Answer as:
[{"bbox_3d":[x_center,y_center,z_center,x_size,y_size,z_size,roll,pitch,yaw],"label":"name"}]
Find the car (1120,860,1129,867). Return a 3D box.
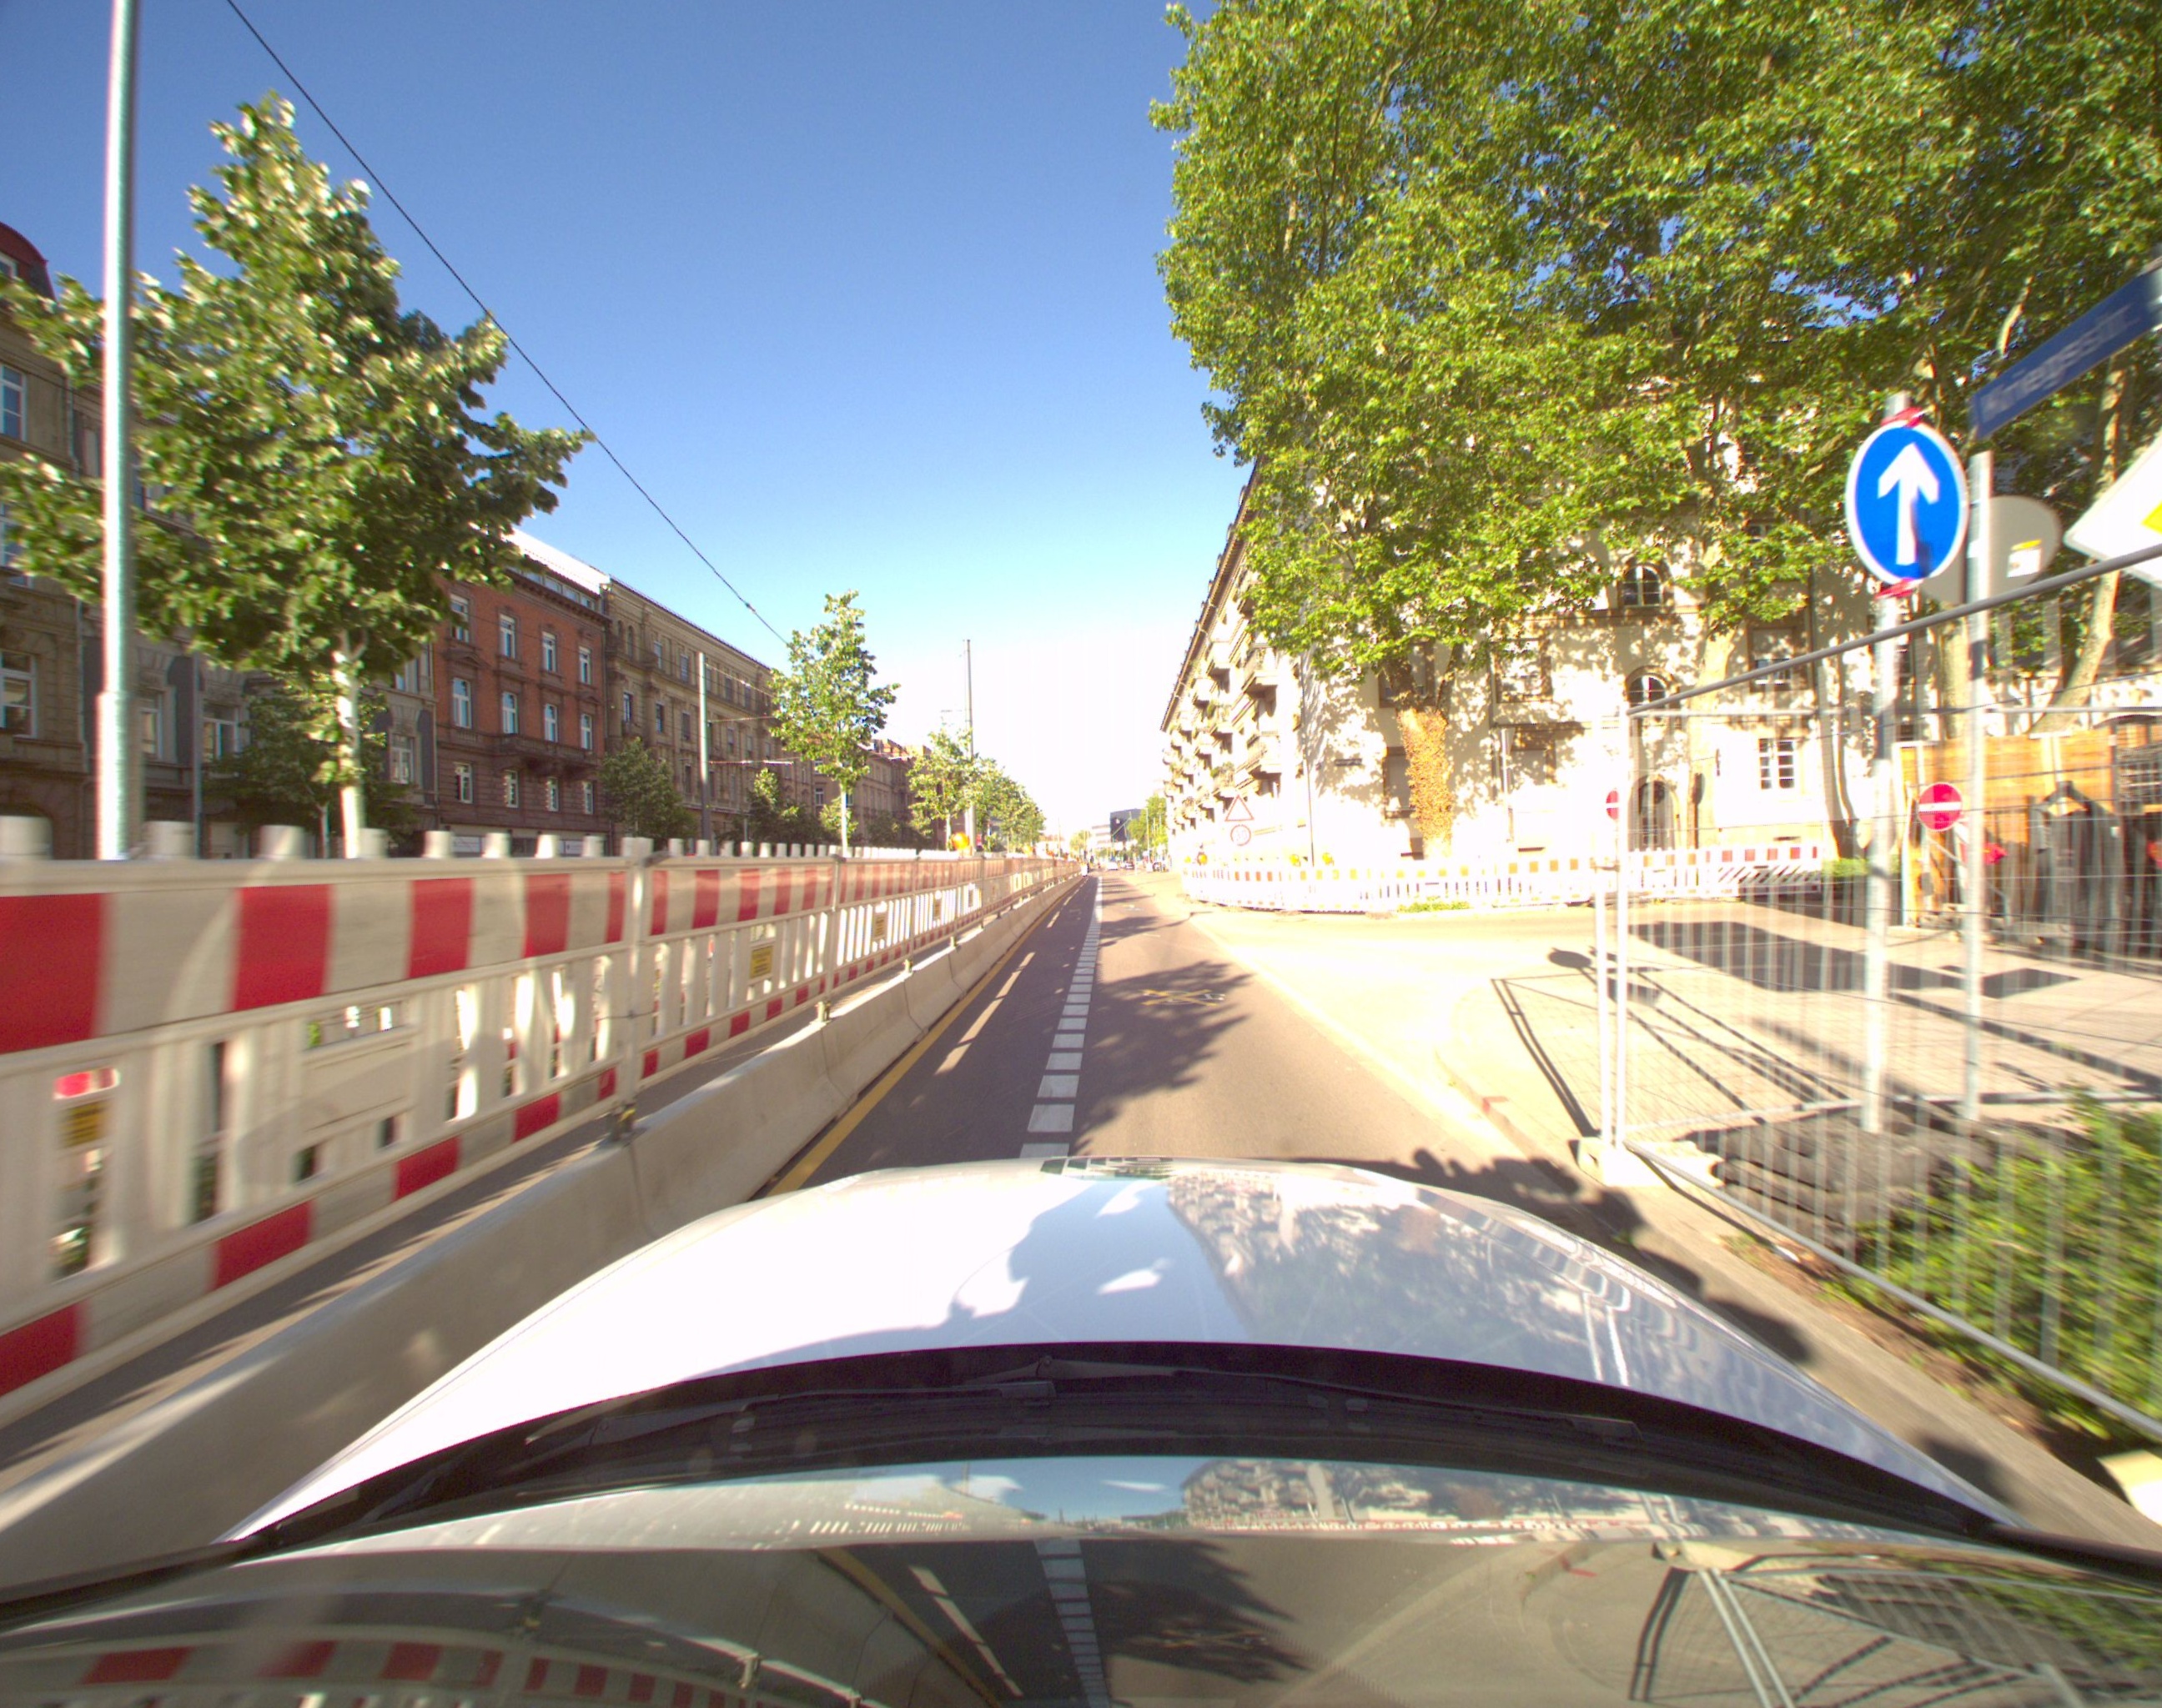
[{"bbox_3d":[9.860,2.072,186.244,1.844,1.498,4.380,-2,0,2],"label":"car"}]

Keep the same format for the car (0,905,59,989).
[{"bbox_3d":[-21.708,1.796,14.253,1.987,1.553,4.450,0,-1,1],"label":"car"}]

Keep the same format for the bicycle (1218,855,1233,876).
[{"bbox_3d":[7.674,0.615,43.177,0.416,1.095,2.199,-3,-1,2],"label":"bicycle"}]

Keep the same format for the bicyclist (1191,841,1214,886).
[{"bbox_3d":[4.944,0.385,33.164,0.730,1.763,0.938,-3,-1,1],"label":"bicyclist"}]

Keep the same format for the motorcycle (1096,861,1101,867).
[{"bbox_3d":[3.928,2.293,181.828,1.015,1.312,2.916,0,-1,2],"label":"motorcycle"}]

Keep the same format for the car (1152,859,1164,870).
[{"bbox_3d":[12.523,1.722,132.487,1.711,1.637,4.240,-3,-1,8],"label":"car"}]

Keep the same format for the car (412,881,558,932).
[{"bbox_3d":[-22.201,1.907,30.614,1.930,1.658,4.548,0,-1,3],"label":"car"}]

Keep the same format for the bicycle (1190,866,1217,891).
[{"bbox_3d":[4.960,0.977,33.150,0.764,0.953,2.198,-3,-1,1],"label":"bicycle"}]

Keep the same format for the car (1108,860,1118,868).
[{"bbox_3d":[6.141,1.887,155.787,1.774,1.414,4.820,0,0,2],"label":"car"}]

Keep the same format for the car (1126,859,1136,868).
[{"bbox_3d":[9.907,1.952,161.713,1.967,1.759,4.635,0,-1,2],"label":"car"}]
